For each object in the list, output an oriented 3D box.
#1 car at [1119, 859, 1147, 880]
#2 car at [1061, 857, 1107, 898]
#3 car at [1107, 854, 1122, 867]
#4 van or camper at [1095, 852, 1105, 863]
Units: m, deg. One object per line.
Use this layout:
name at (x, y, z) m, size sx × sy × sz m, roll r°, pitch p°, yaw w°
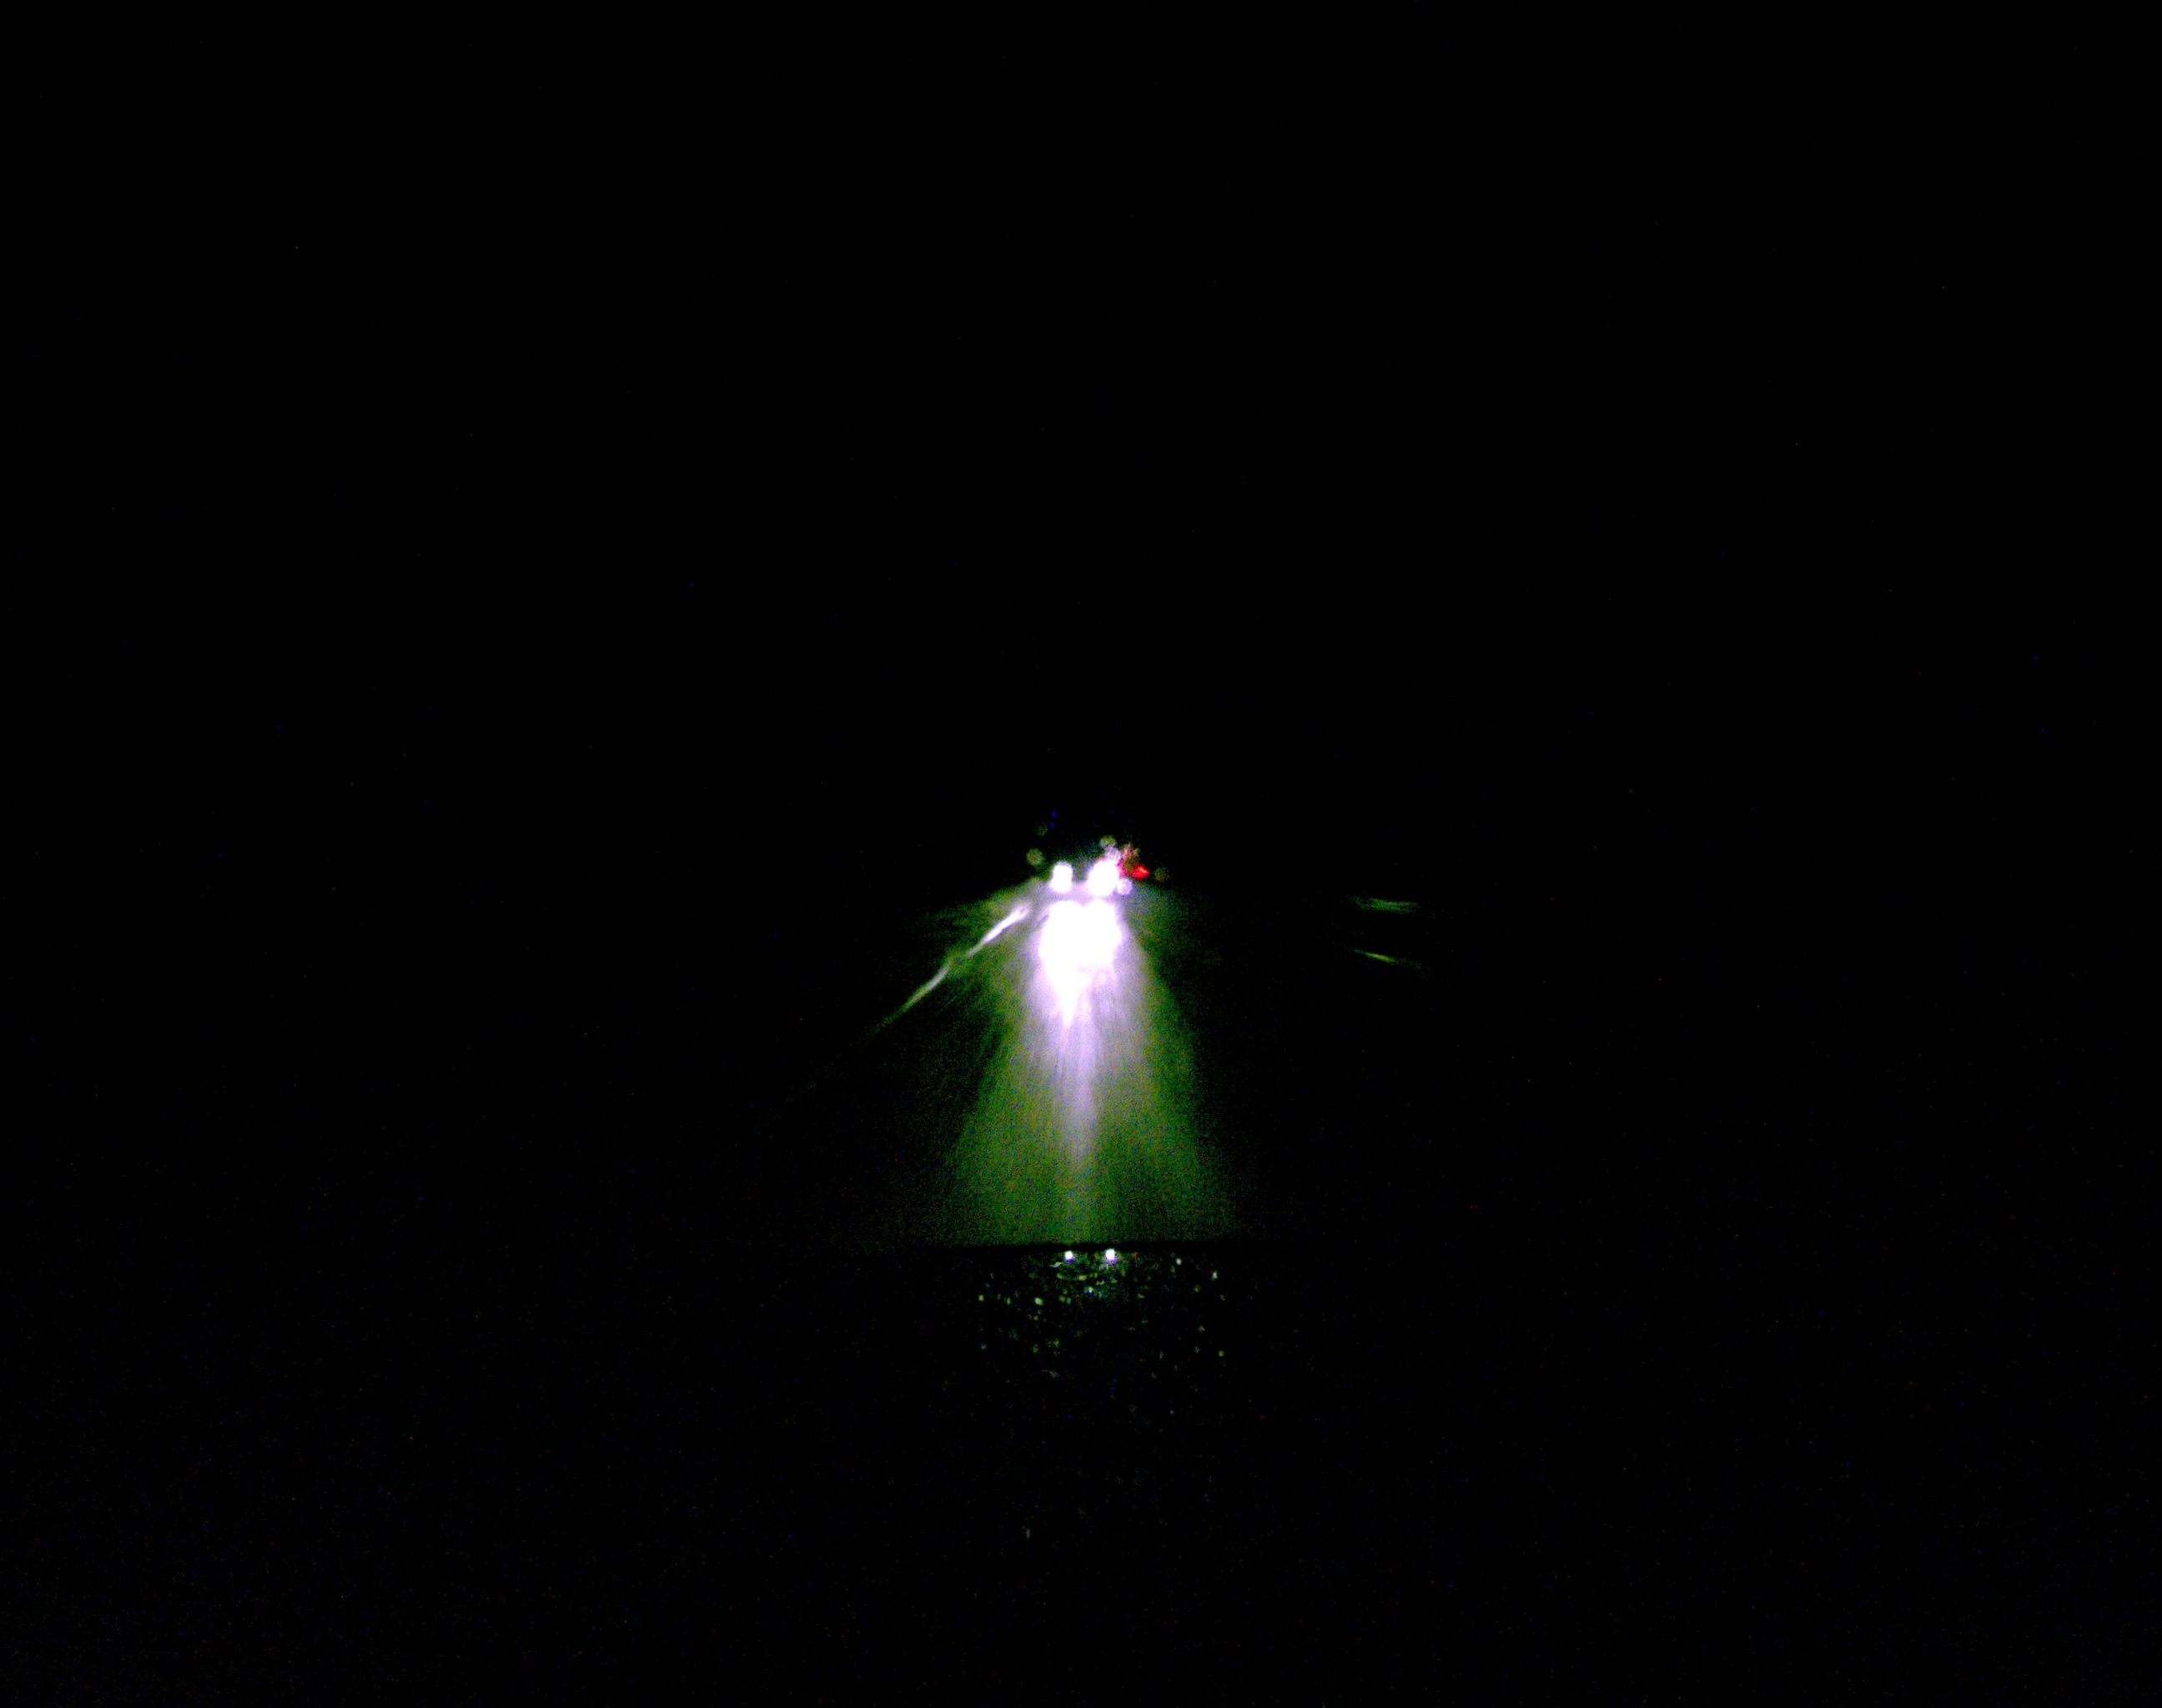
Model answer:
car at (3.897, 1.126, 57.677) m, size 1.769 × 1.510 × 4.490 m, roll 2°, pitch 0°, yaw 0°
car at (0.121, 0.959, 31.996) m, size 1.793 × 1.593 × 4.001 m, roll 1°, pitch -1°, yaw 0°
car at (4.318, 0.826, 98.226) m, size 1.809 × 1.618 × 4.408 m, roll 1°, pitch 0°, yaw 3°
van or camper at (4.646, 0.911, 183.739) m, size 2.129 × 2.550 × 5.783 m, roll 2°, pitch 0°, yaw -1°
